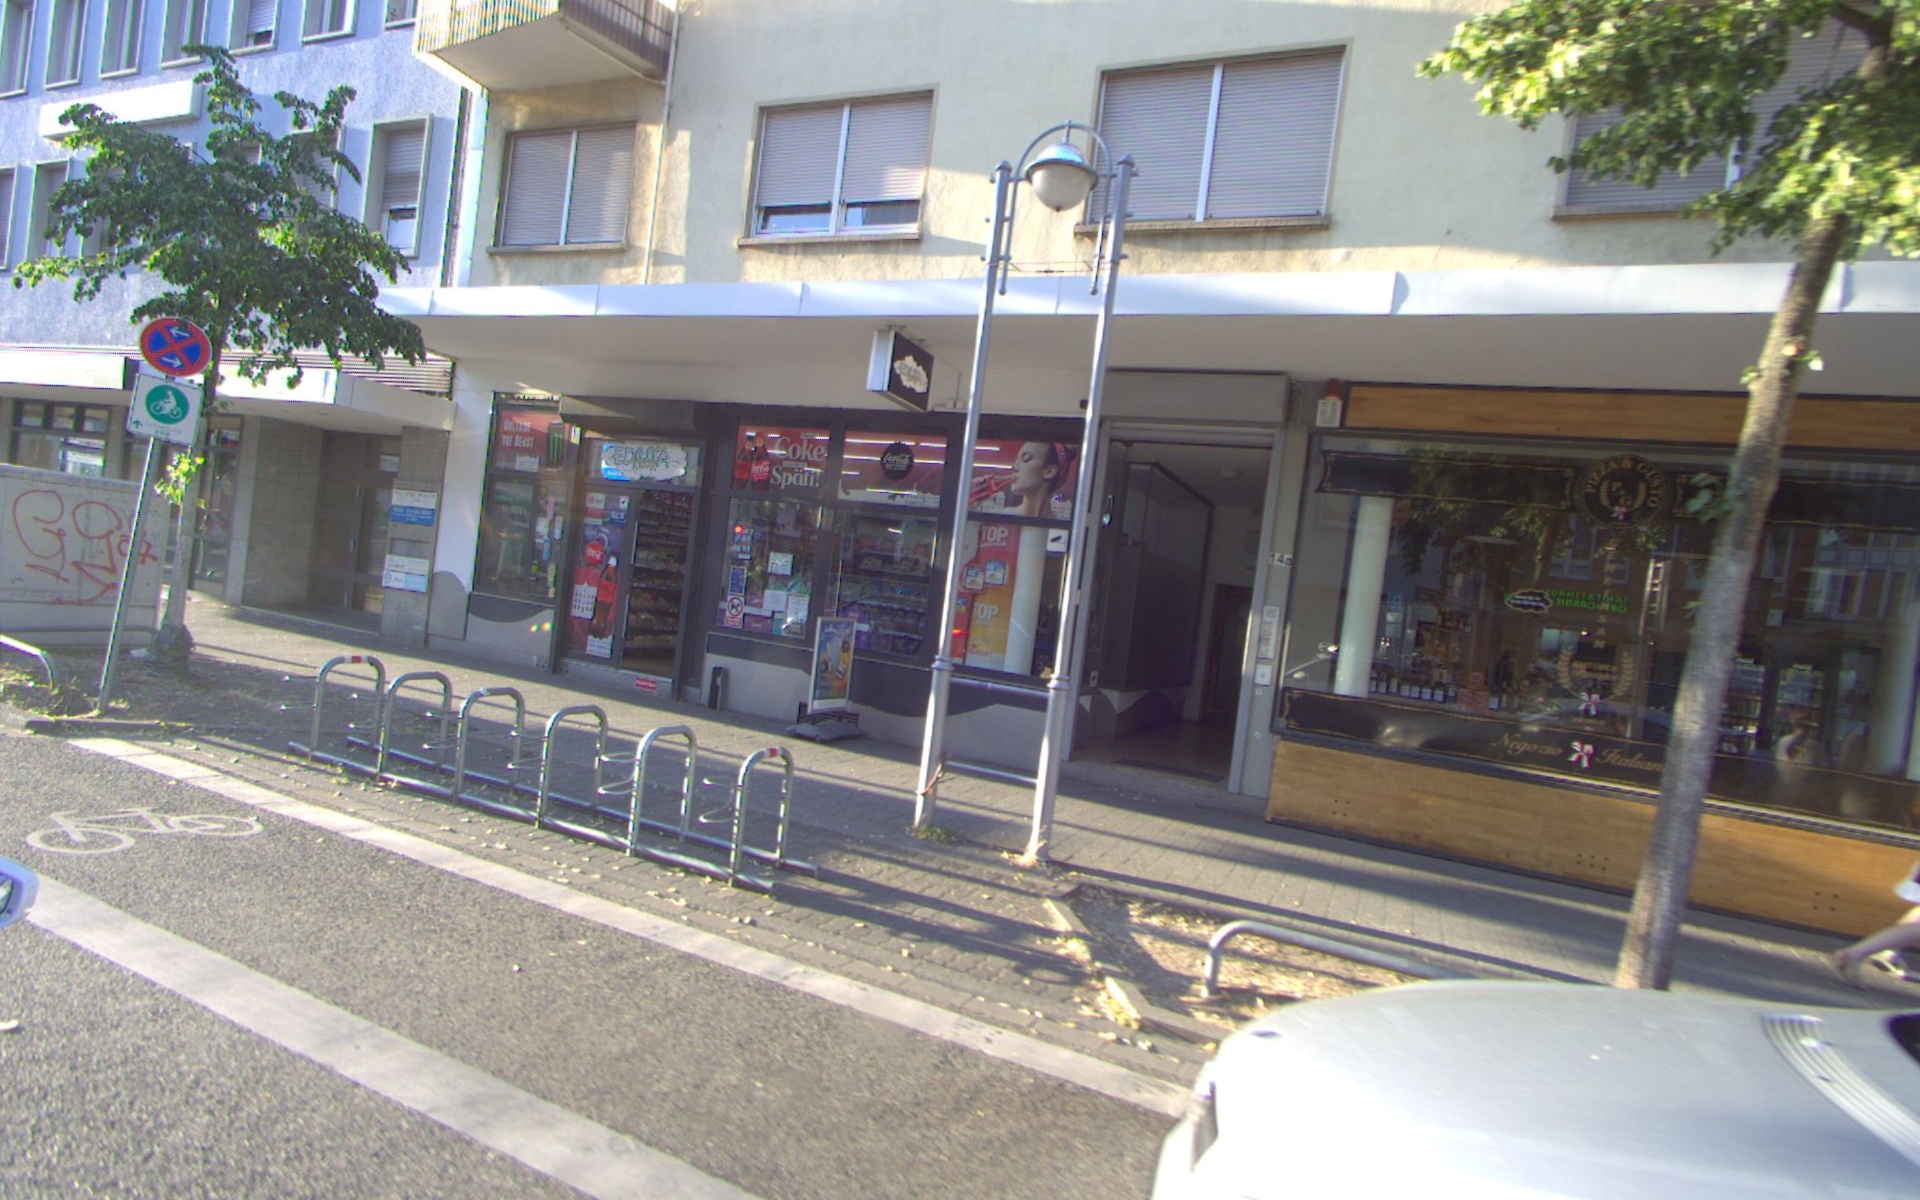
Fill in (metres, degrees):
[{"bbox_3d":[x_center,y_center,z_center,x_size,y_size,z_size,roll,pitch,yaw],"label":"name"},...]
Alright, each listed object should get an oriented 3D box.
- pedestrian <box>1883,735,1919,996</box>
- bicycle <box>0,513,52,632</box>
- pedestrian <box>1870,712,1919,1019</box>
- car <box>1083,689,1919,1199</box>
[{"bbox_3d":[5.964,1.437,5.878,0.493,1.782,0.544,7,4,24],"label":"pedestrian"},{"bbox_3d":[-10.522,-0.352,10.468,0.376,1.234,1.445,7,-1,27],"label":"bicycle"},{"bbox_3d":[5.487,1.467,5.524,0.401,1.615,0.520,7,4,24],"label":"pedestrian"},{"bbox_3d":[2.568,1.176,1.225,4.555,1.417,1.748,8,-1,24],"label":"car"}]
